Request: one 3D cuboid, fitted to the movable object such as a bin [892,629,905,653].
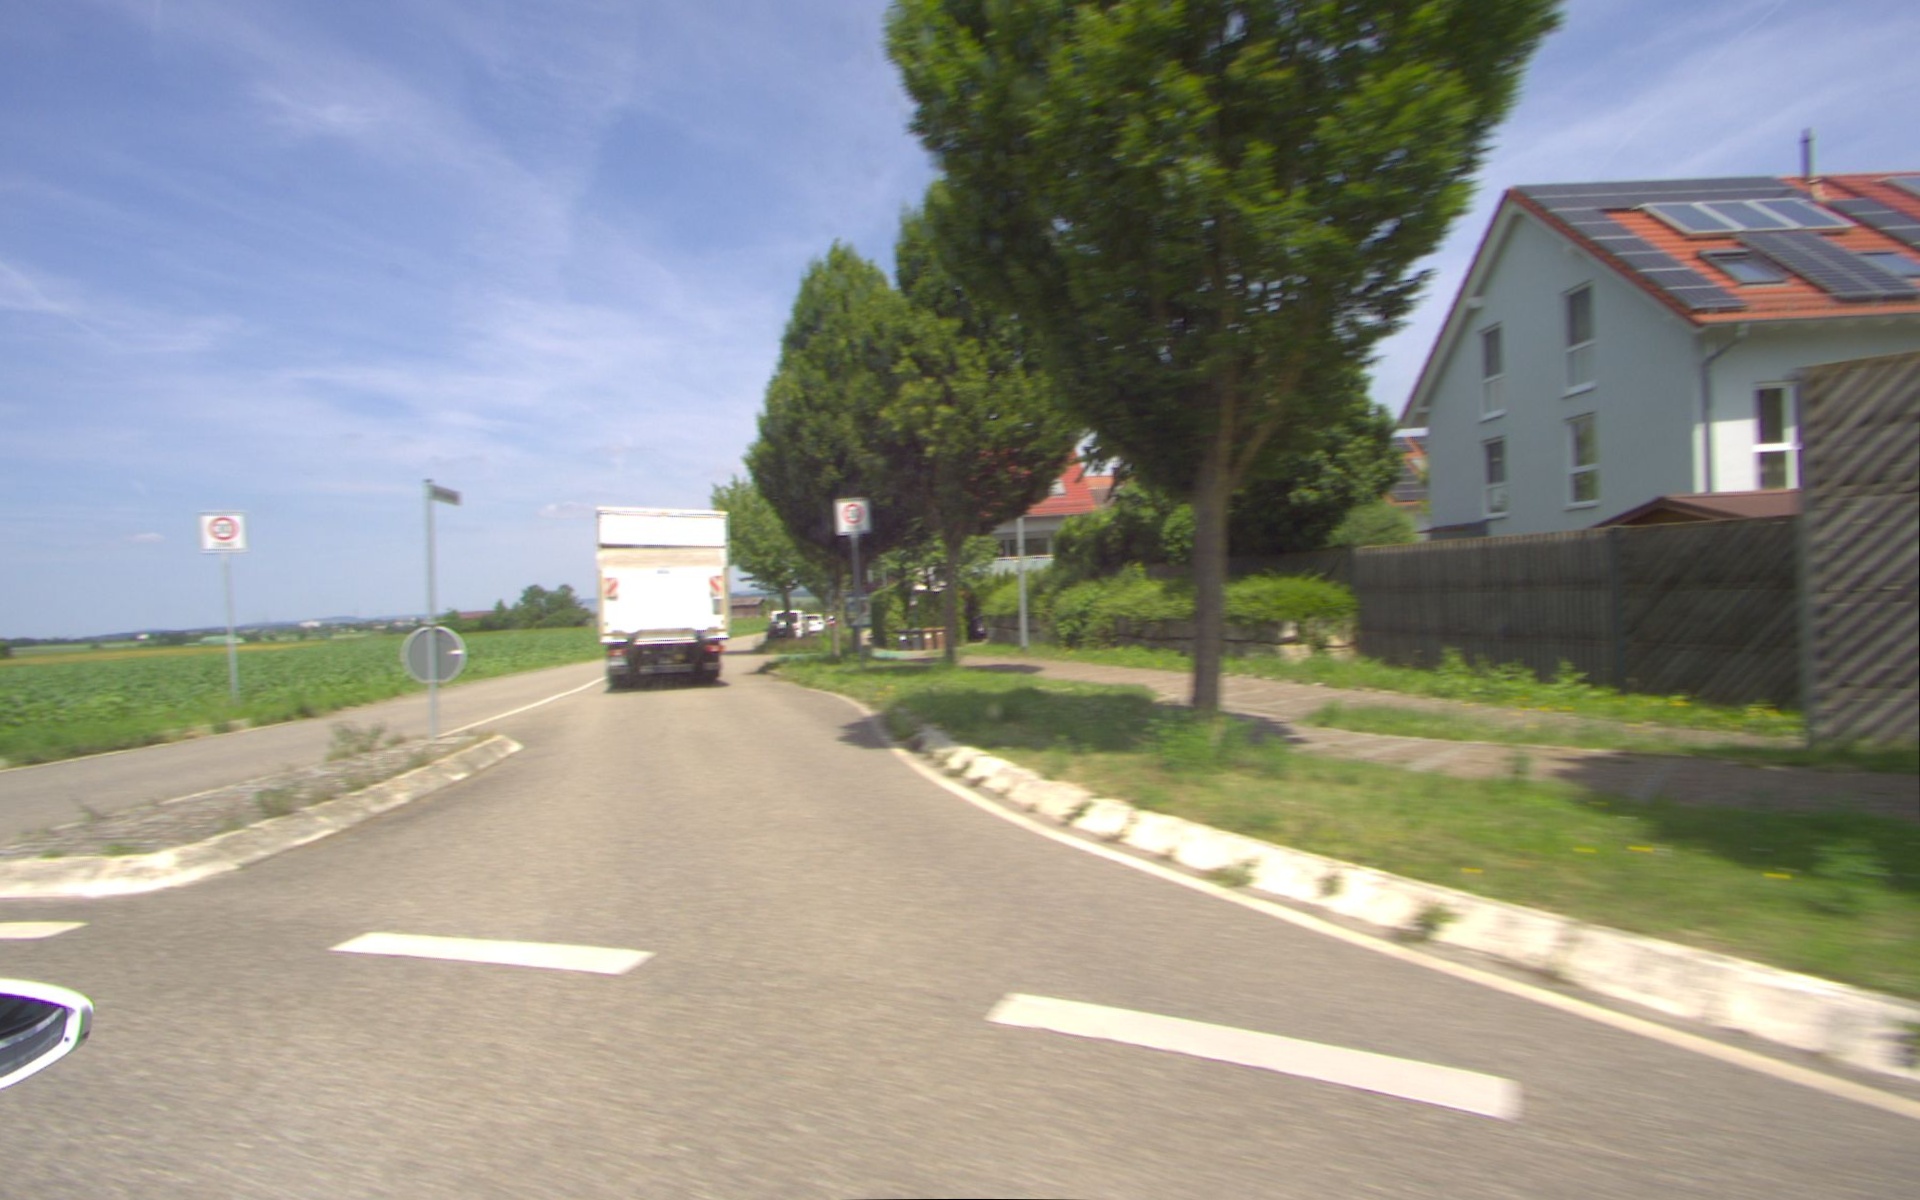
[{"bbox_3d":[-2.578,1.700,41.929,0.433,0.979,0.498,-2,1,12],"label":"movable object such as a bin"}]

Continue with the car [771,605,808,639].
[{"bbox_3d":[-9.765,1.229,57.537,1.962,1.740,3.997,-3,0,-9],"label":"car"}]

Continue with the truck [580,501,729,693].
[{"bbox_3d":[-7.525,0.017,24.278,2.728,3.718,9.363,-2,-1,-19],"label":"truck"}]

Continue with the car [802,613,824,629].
[{"bbox_3d":[-11.004,1.554,74.941,1.339,1.151,3.207,-2,0,-3],"label":"car"}]

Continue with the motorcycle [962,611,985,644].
[{"bbox_3d":[0.600,1.209,44.678,0.834,1.366,1.661,-3,1,5],"label":"motorcycle"}]

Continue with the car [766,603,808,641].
[{"bbox_3d":[-8.911,1.090,51.659,1.962,1.817,3.997,-3,0,-10],"label":"car"}]

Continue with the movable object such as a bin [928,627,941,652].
[{"bbox_3d":[-1.067,1.637,41.633,0.433,0.979,0.498,-2,1,12],"label":"movable object such as a bin"}]

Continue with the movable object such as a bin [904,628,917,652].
[{"bbox_3d":[-2.071,1.679,41.832,0.433,0.979,0.498,-2,1,12],"label":"movable object such as a bin"}]

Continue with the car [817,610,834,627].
[{"bbox_3d":[-11.714,1.617,87.337,1.262,1.379,3.289,-3,-1,-5],"label":"car"}]

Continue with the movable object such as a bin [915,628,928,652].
[{"bbox_3d":[-1.600,1.660,41.740,0.433,0.979,0.498,-2,1,12],"label":"movable object such as a bin"}]
